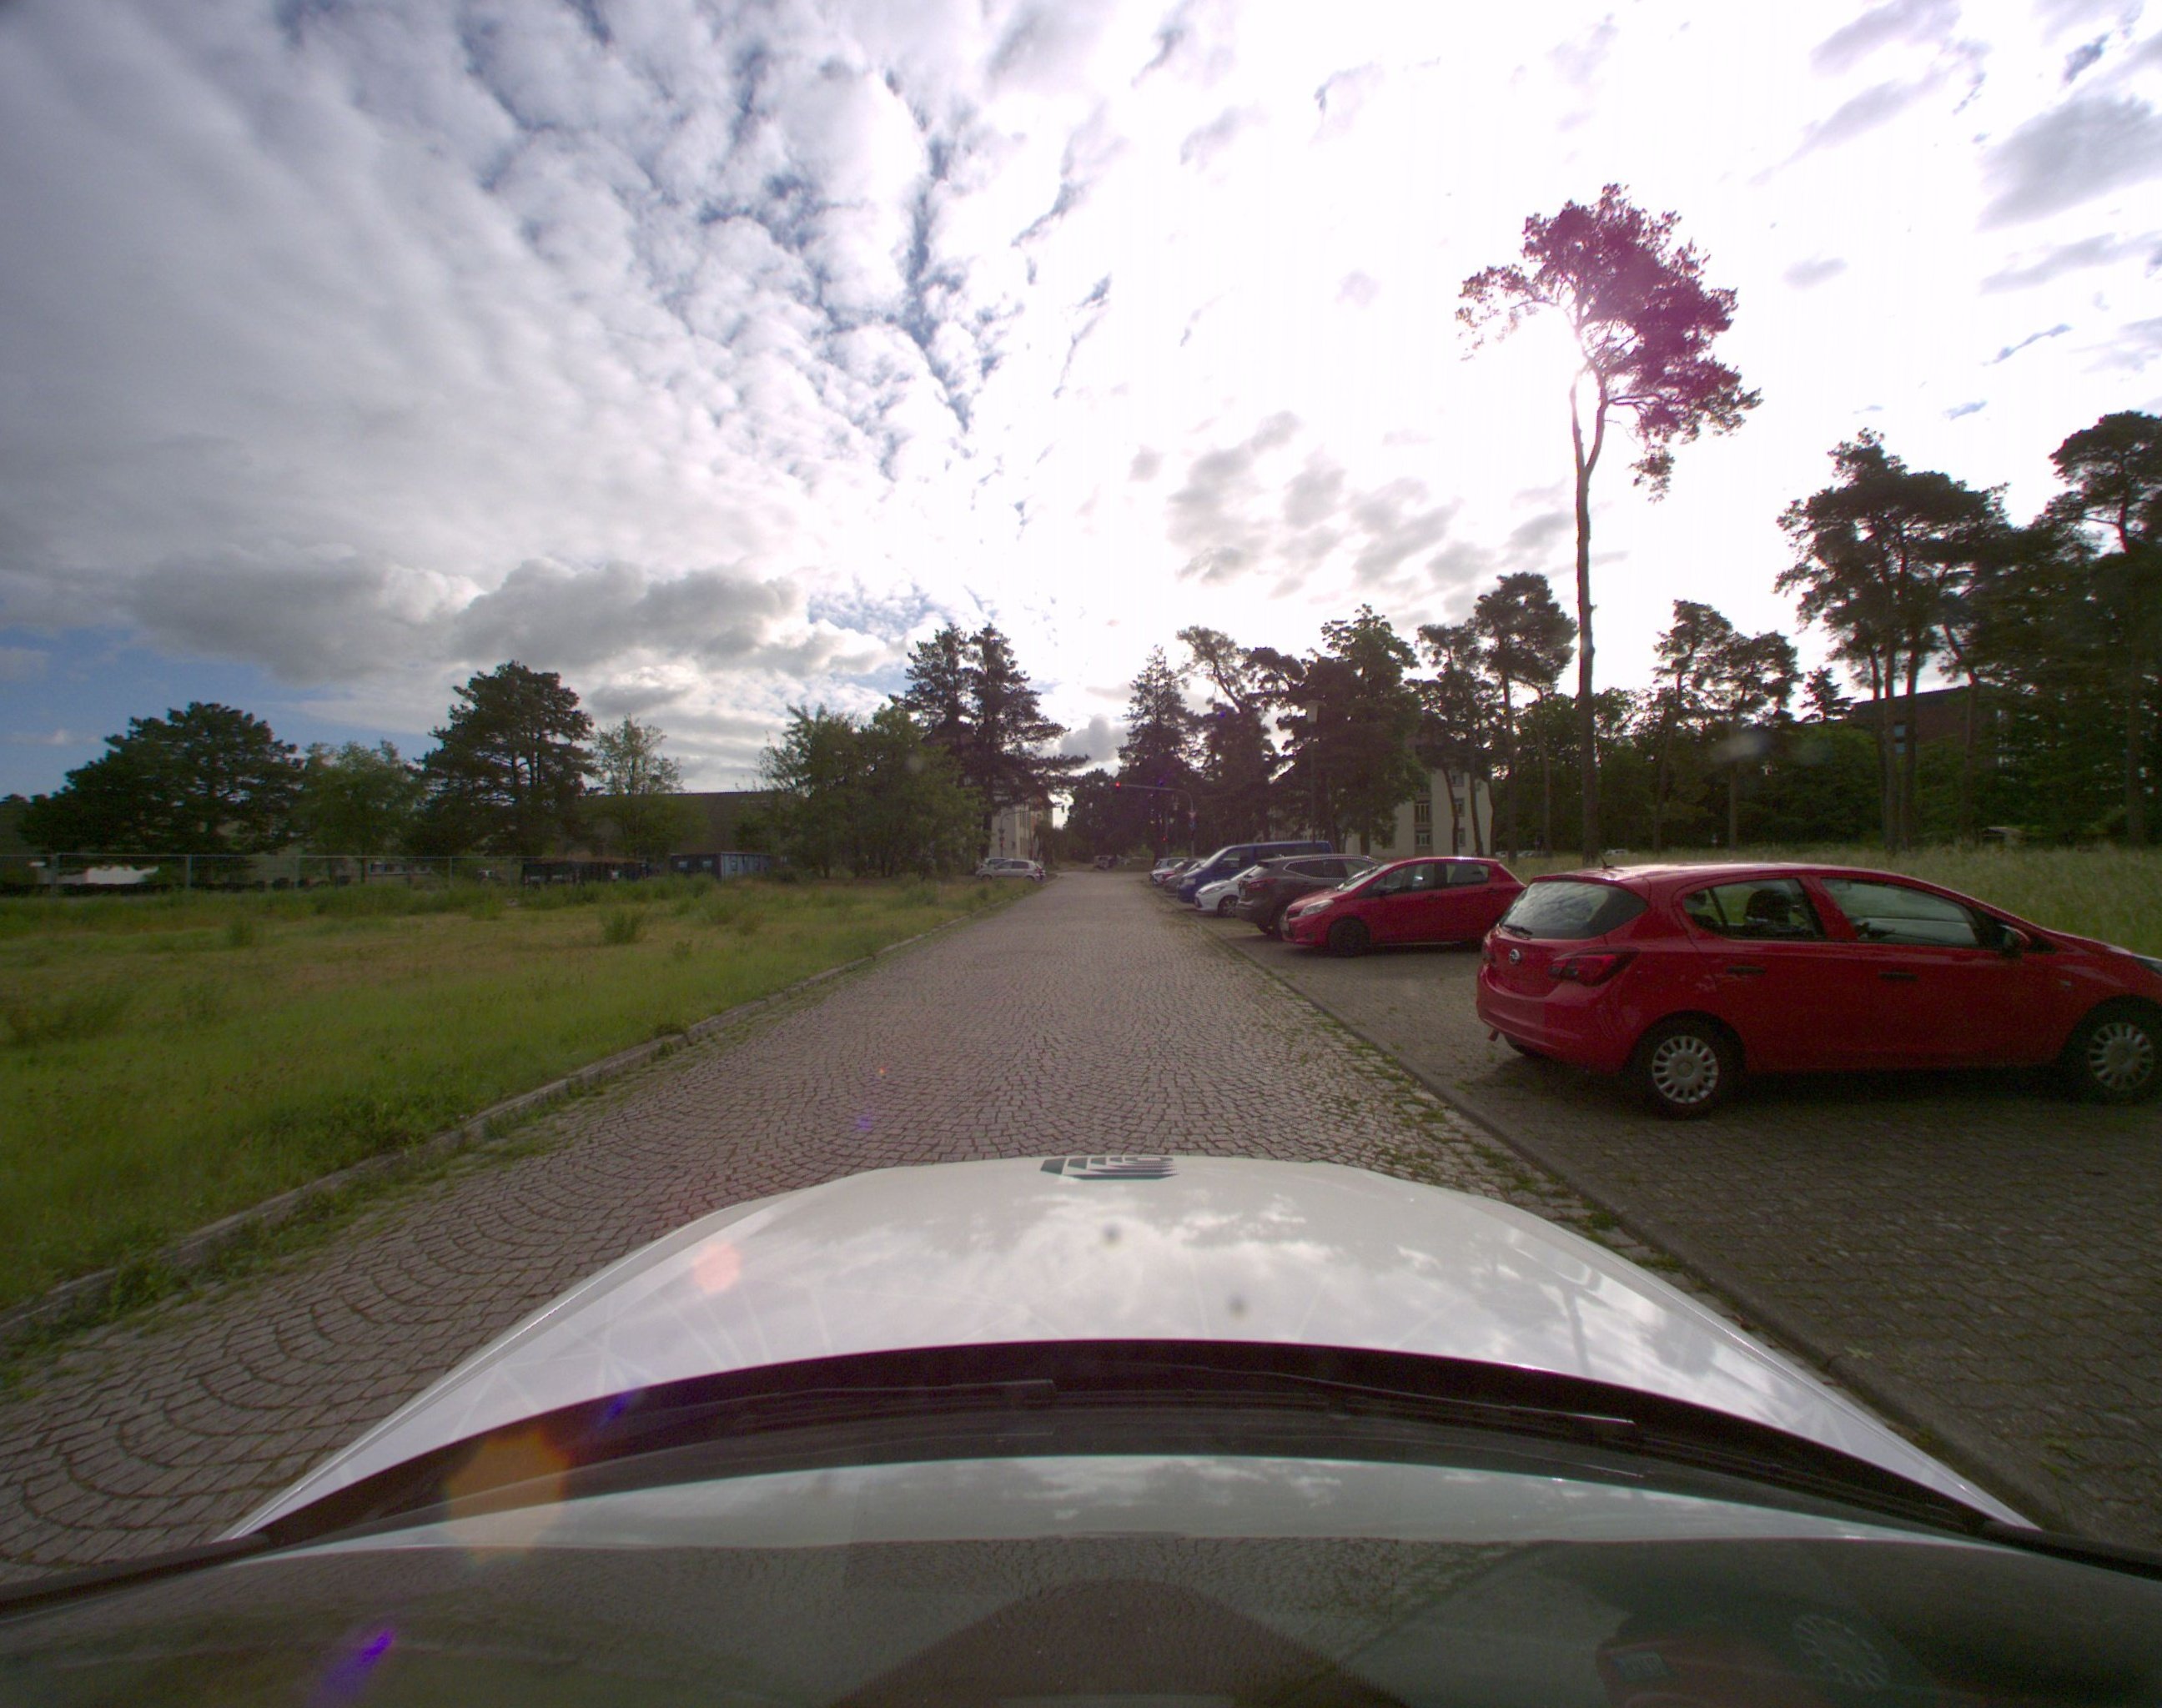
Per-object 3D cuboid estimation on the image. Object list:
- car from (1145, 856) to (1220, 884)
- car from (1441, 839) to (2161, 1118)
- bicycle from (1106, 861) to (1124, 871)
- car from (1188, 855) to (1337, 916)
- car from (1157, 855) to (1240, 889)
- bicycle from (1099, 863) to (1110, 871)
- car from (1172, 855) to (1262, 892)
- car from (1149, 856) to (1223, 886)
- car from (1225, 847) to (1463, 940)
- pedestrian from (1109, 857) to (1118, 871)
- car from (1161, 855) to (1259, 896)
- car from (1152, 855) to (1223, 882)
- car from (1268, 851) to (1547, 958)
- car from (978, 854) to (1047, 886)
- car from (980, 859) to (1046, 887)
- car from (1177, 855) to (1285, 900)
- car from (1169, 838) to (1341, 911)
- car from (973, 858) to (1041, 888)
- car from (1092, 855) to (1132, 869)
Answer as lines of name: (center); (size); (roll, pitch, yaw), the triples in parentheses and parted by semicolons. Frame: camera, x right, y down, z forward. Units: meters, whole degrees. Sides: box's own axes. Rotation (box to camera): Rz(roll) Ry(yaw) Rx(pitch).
car: (5.695, 0.898, 45.948); (3.959, 1.421, 1.618); (-2, -1, -3)
car: (4.790, 0.724, 5.591); (3.812, 1.460, 1.779); (-2, -1, 0)
bicycle: (4.108, 1.418, 97.577); (2.132, 1.215, 0.621); (0, -1, -3)
car: (4.885, 0.841, 22.214); (3.661, 1.449, 1.614); (-2, -1, -1)
car: (5.544, 0.842, 38.555); (3.660, 1.449, 1.523); (-2, -1, -1)
bicycle: (2.688, 1.497, 93.531); (0.623, 0.945, 1.649); (0, -1, -26)
car: (5.943, 0.838, 35.840); (3.660, 1.449, 1.523); (-2, -1, -1)
car: (5.525, 0.877, 43.094); (3.663, 1.421, 1.522); (-2, -1, -3)
car: (4.997, 0.730, 15.833); (4.017, 1.552, 1.750); (-2, -1, -1)
pedestrian: (3.917, 1.216, 97.926); (1.031, 1.614, 0.756); (0, -1, -3)
car: (5.157, 0.849, 32.864); (3.660, 1.449, 1.523); (-2, -1, -1)
car: (6.342, 0.885, 48.588); (3.959, 1.421, 1.618); (-2, -1, -3)
car: (5.120, 0.769, 13.170); (3.778, 1.460, 1.751); (-2, -1, 1)
car: (-4.433, 1.037, 53.122); (4.247, 1.840, 1.744); (-2, -1, 1)
car: (-4.170, 1.173, 50.126); (3.808, 1.572, 1.564); (-2, -1, 1)
car: (5.497, 0.856, 30.078); (3.660, 1.449, 1.523); (-2, -1, -1)
car: (5.200, 0.600, 24.805); (4.740, 1.954, 1.931); (-2, -1, -1)
car: (-4.284, 1.120, 47.711); (3.812, 1.572, 1.563); (-2, -1, -2)
car: (4.402, 1.118, 115.494); (5.442, 2.014, 2.262); (0, -1, -8)
